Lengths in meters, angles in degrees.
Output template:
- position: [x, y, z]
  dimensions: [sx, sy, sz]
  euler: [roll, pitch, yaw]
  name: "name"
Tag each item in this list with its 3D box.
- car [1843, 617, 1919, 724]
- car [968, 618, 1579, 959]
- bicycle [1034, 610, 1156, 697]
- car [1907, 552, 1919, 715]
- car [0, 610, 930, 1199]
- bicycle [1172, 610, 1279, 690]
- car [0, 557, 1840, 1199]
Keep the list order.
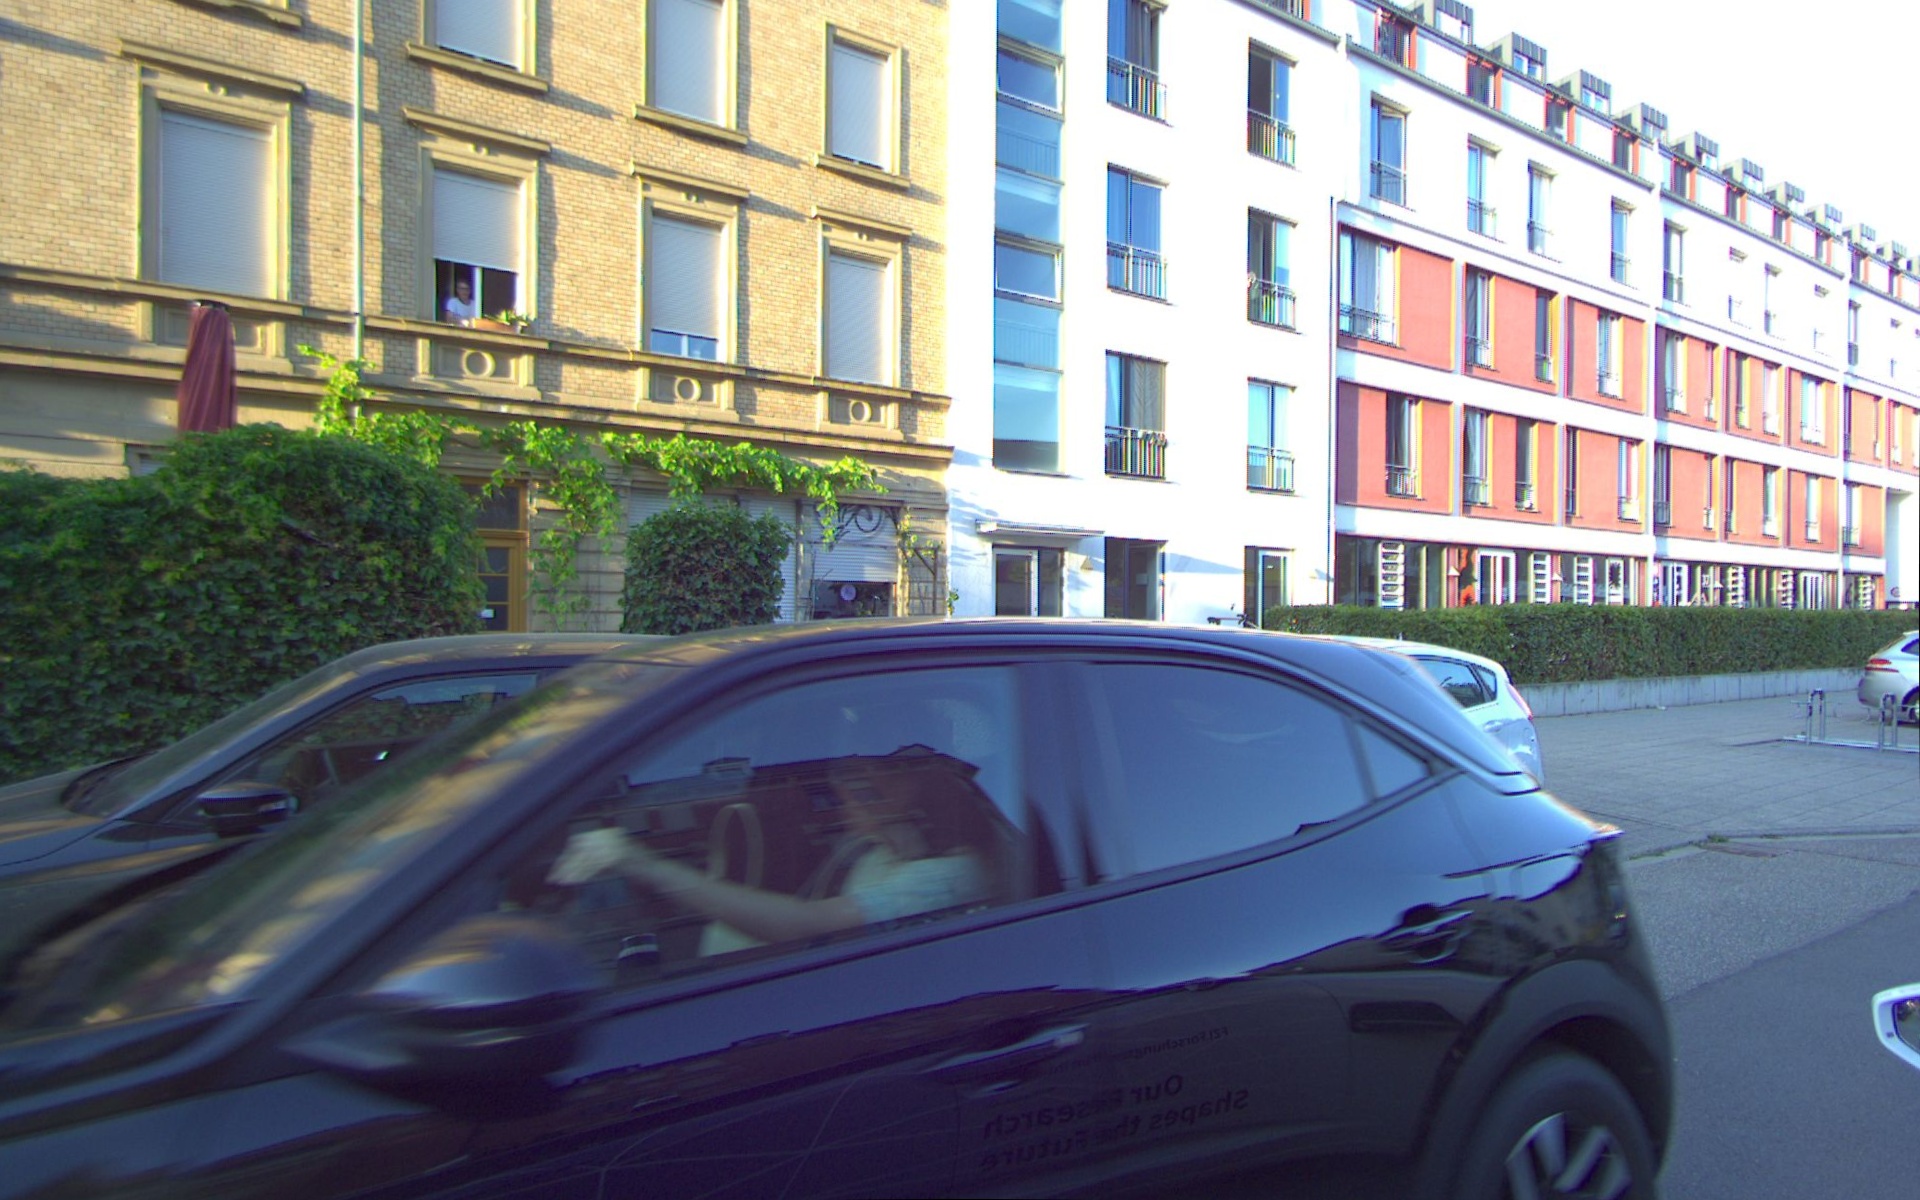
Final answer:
- position: [15.102, 1.056, 13.461]
  dimensions: [1.861, 1.480, 4.587]
  euler: [1, 1, -33]
  name: "car"
- position: [2.151, 0.921, 6.473]
  dimensions: [3.975, 1.550, 1.640]
  euler: [1, 0, -34]
  name: "car"
- position: [1.978, 0.755, 14.979]
  dimensions: [0.802, 1.157, 1.906]
  euler: [1, 1, -29]
  name: "bicycle"
- position: [17.297, 0.594, 14.763]
  dimensions: [1.976, 2.619, 4.491]
  euler: [1, 1, -29]
  name: "car"
- position: [-2.184, 0.841, 3.902]
  dimensions: [3.800, 1.554, 1.695]
  euler: [1, 0, -31]
  name: "car"
- position: [4.253, 0.773, 16.222]
  dimensions: [0.603, 1.163, 1.768]
  euler: [1, 1, -28]
  name: "bicycle"
- position: [-0.220, 0.776, 2.085]
  dimensions: [3.949, 1.537, 1.773]
  euler: [1, -2, -27]
  name: "car"
